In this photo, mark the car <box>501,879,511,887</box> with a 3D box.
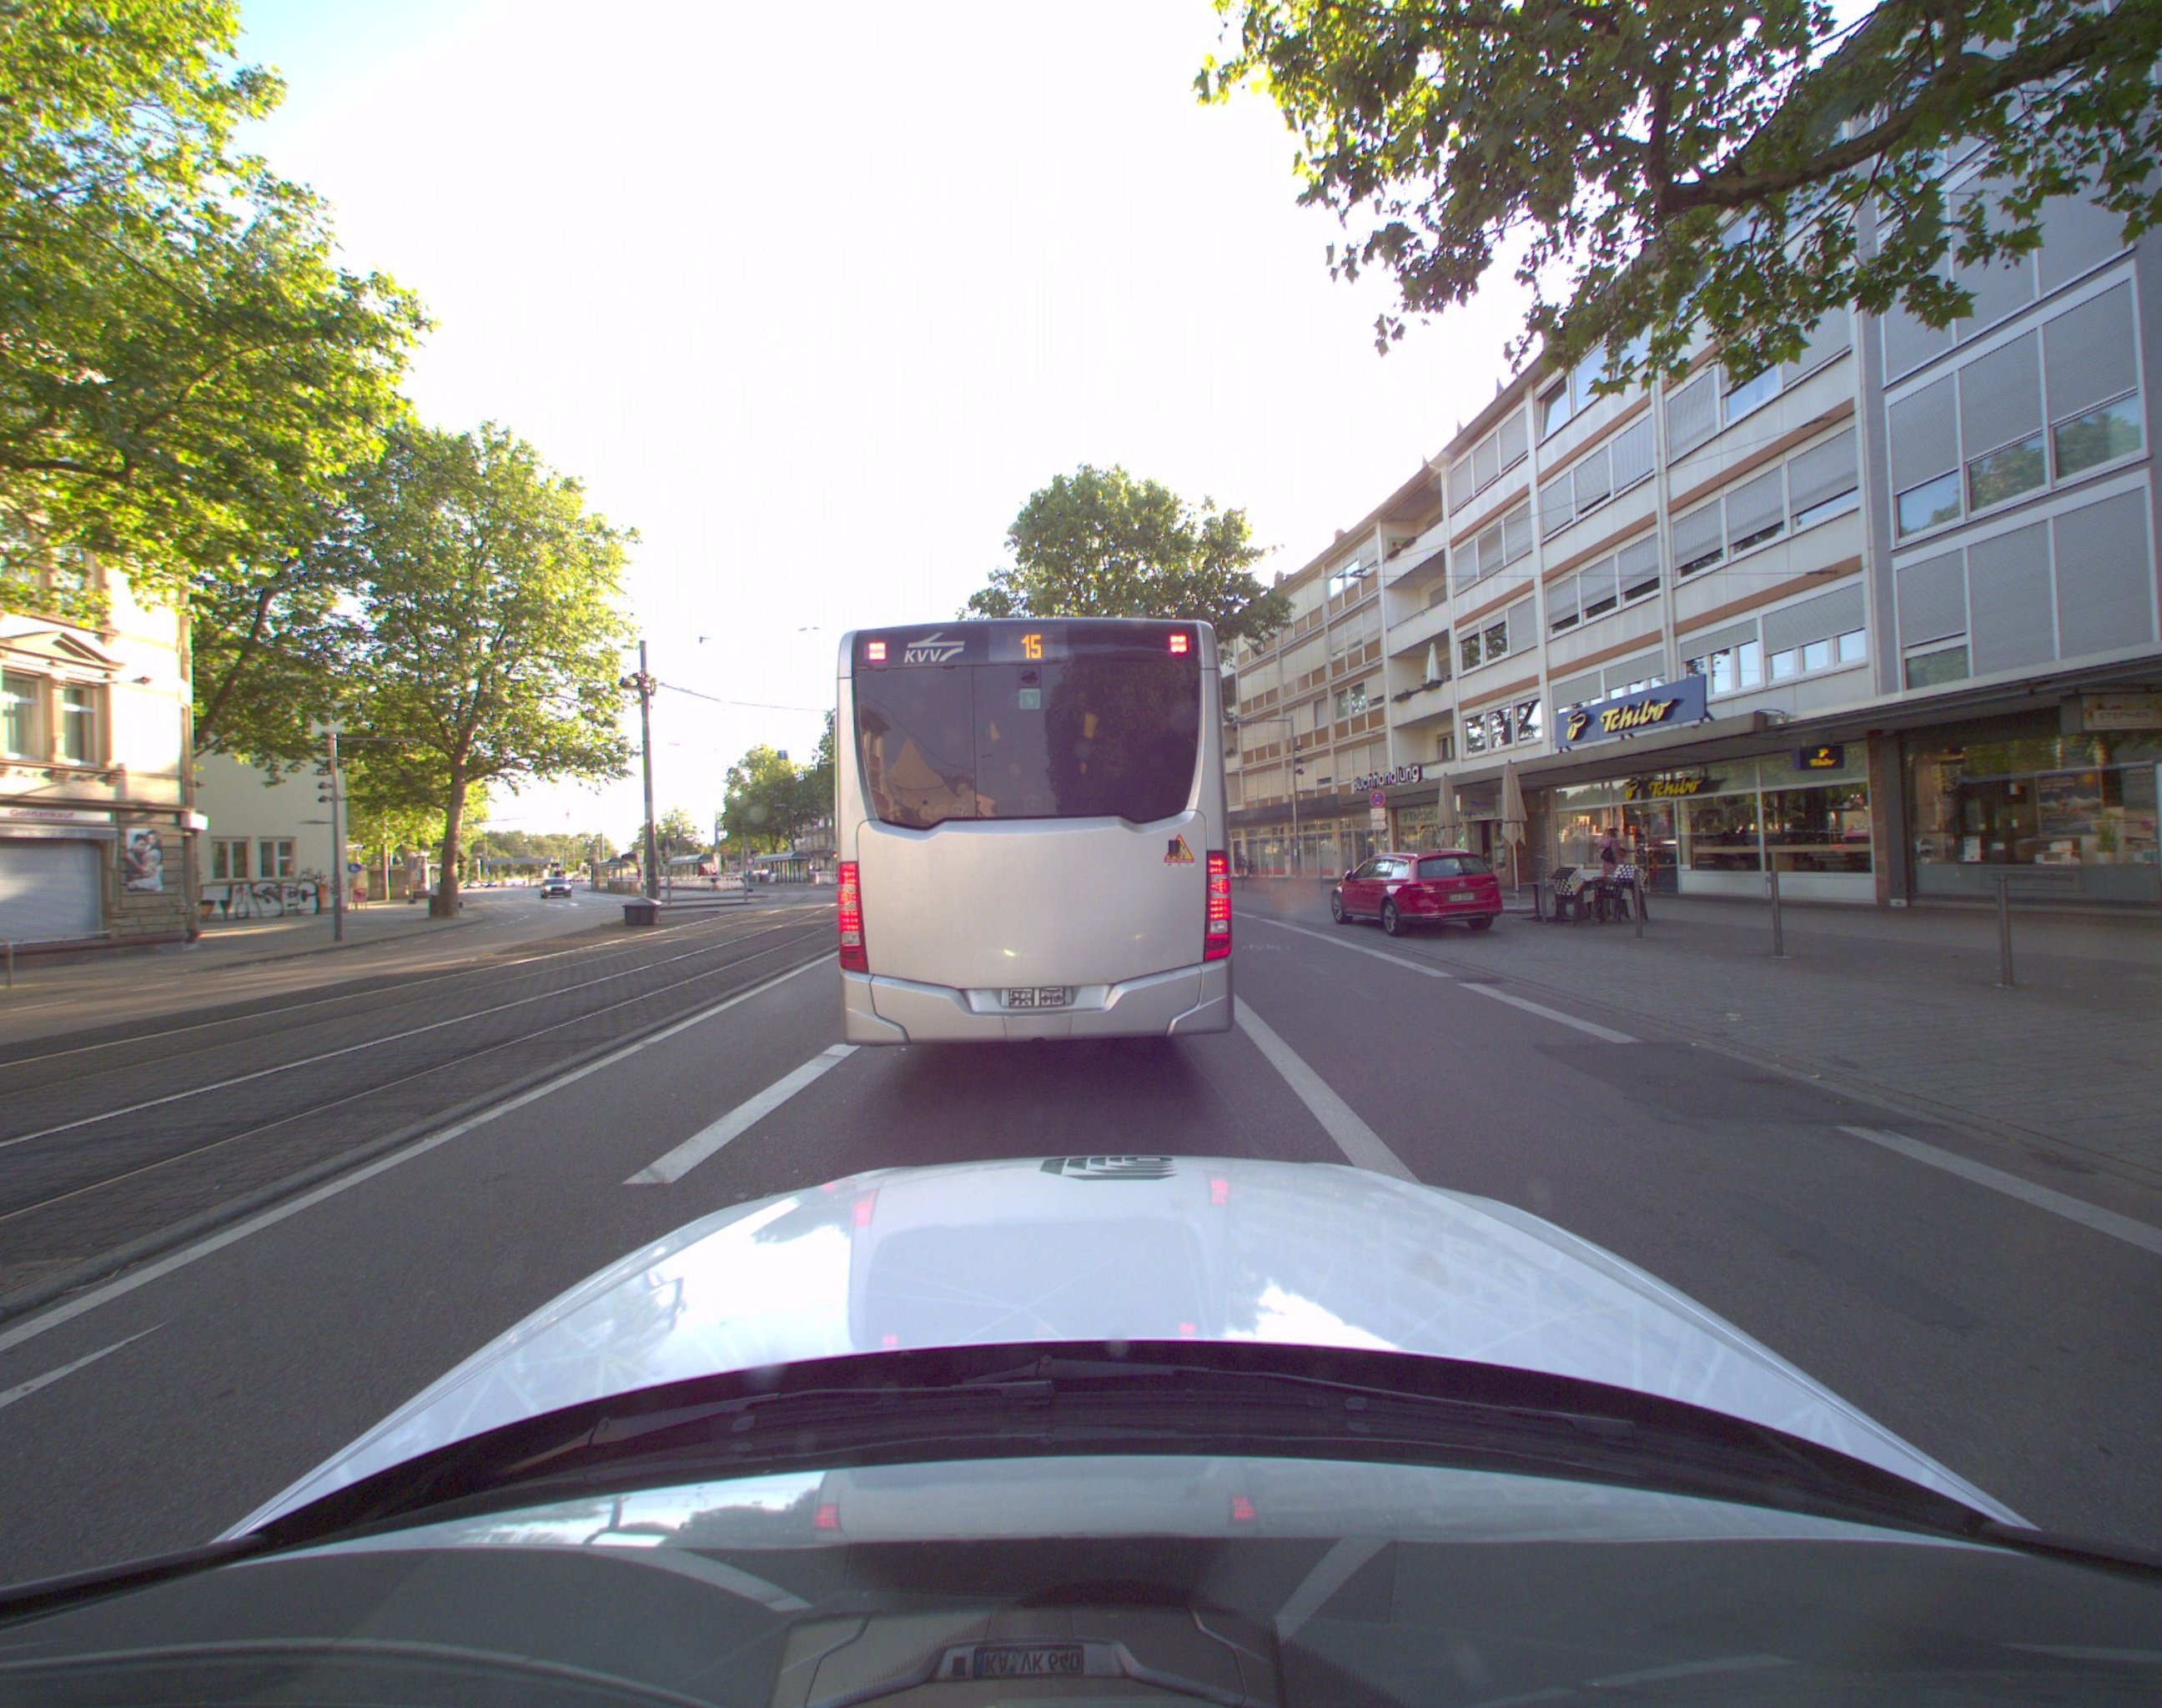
[{"bbox_3d":[-130.097,6.466,184.192,1.858,1.684,3.676,-2,-1,-35],"label":"car"}]

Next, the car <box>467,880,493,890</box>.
[{"bbox_3d":[-122.672,6.317,166.137,1.768,1.640,4.024,-3,-1,44],"label":"car"}]

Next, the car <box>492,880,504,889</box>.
[{"bbox_3d":[-117.833,6.080,164.673,1.858,1.684,3.676,-2,-1,-35],"label":"car"}]

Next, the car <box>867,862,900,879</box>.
[{"bbox_3d":[-21.643,1.763,88.971,2.010,1.792,3.954,0,-1,-39],"label":"car"}]

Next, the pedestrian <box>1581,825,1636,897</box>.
[{"bbox_3d":[12.331,0.160,19.050,0.649,1.592,0.788,-4,-1,-4],"label":"pedestrian"}]

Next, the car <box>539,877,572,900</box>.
[{"bbox_3d":[-40.057,2.608,62.072,2.008,1.640,3.958,-2,-1,-33],"label":"car"}]

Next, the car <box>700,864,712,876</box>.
[{"bbox_3d":[-66.675,2.774,144.805,1.629,2.014,3.080,-2,-1,-32],"label":"car"}]

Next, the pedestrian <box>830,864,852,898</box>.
[{"bbox_3d":[-12.218,1.370,41.532,0.893,1.728,0.518,-2,-1,3],"label":"pedestrian"}]

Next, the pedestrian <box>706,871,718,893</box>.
[{"bbox_3d":[-27.346,2.067,60.302,0.661,1.656,0.438,-2,-1,-41],"label":"pedestrian"}]

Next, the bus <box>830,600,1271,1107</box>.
[{"bbox_3d":[-0.170,0.016,9.933,2.622,3.028,9.995,-1,0,0],"label":"bus"}]

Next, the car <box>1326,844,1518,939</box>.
[{"bbox_3d":[6.380,0.639,15.835,1.765,1.482,4.300,-3,0,-2],"label":"car"}]

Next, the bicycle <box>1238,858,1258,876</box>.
[{"bbox_3d":[9.322,0.718,45.489,0.413,0.945,1.431,-2,-1,-18],"label":"bicycle"}]

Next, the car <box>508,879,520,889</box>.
[{"bbox_3d":[-111.451,5.892,160.013,1.858,1.684,3.677,-4,1,-35],"label":"car"}]
